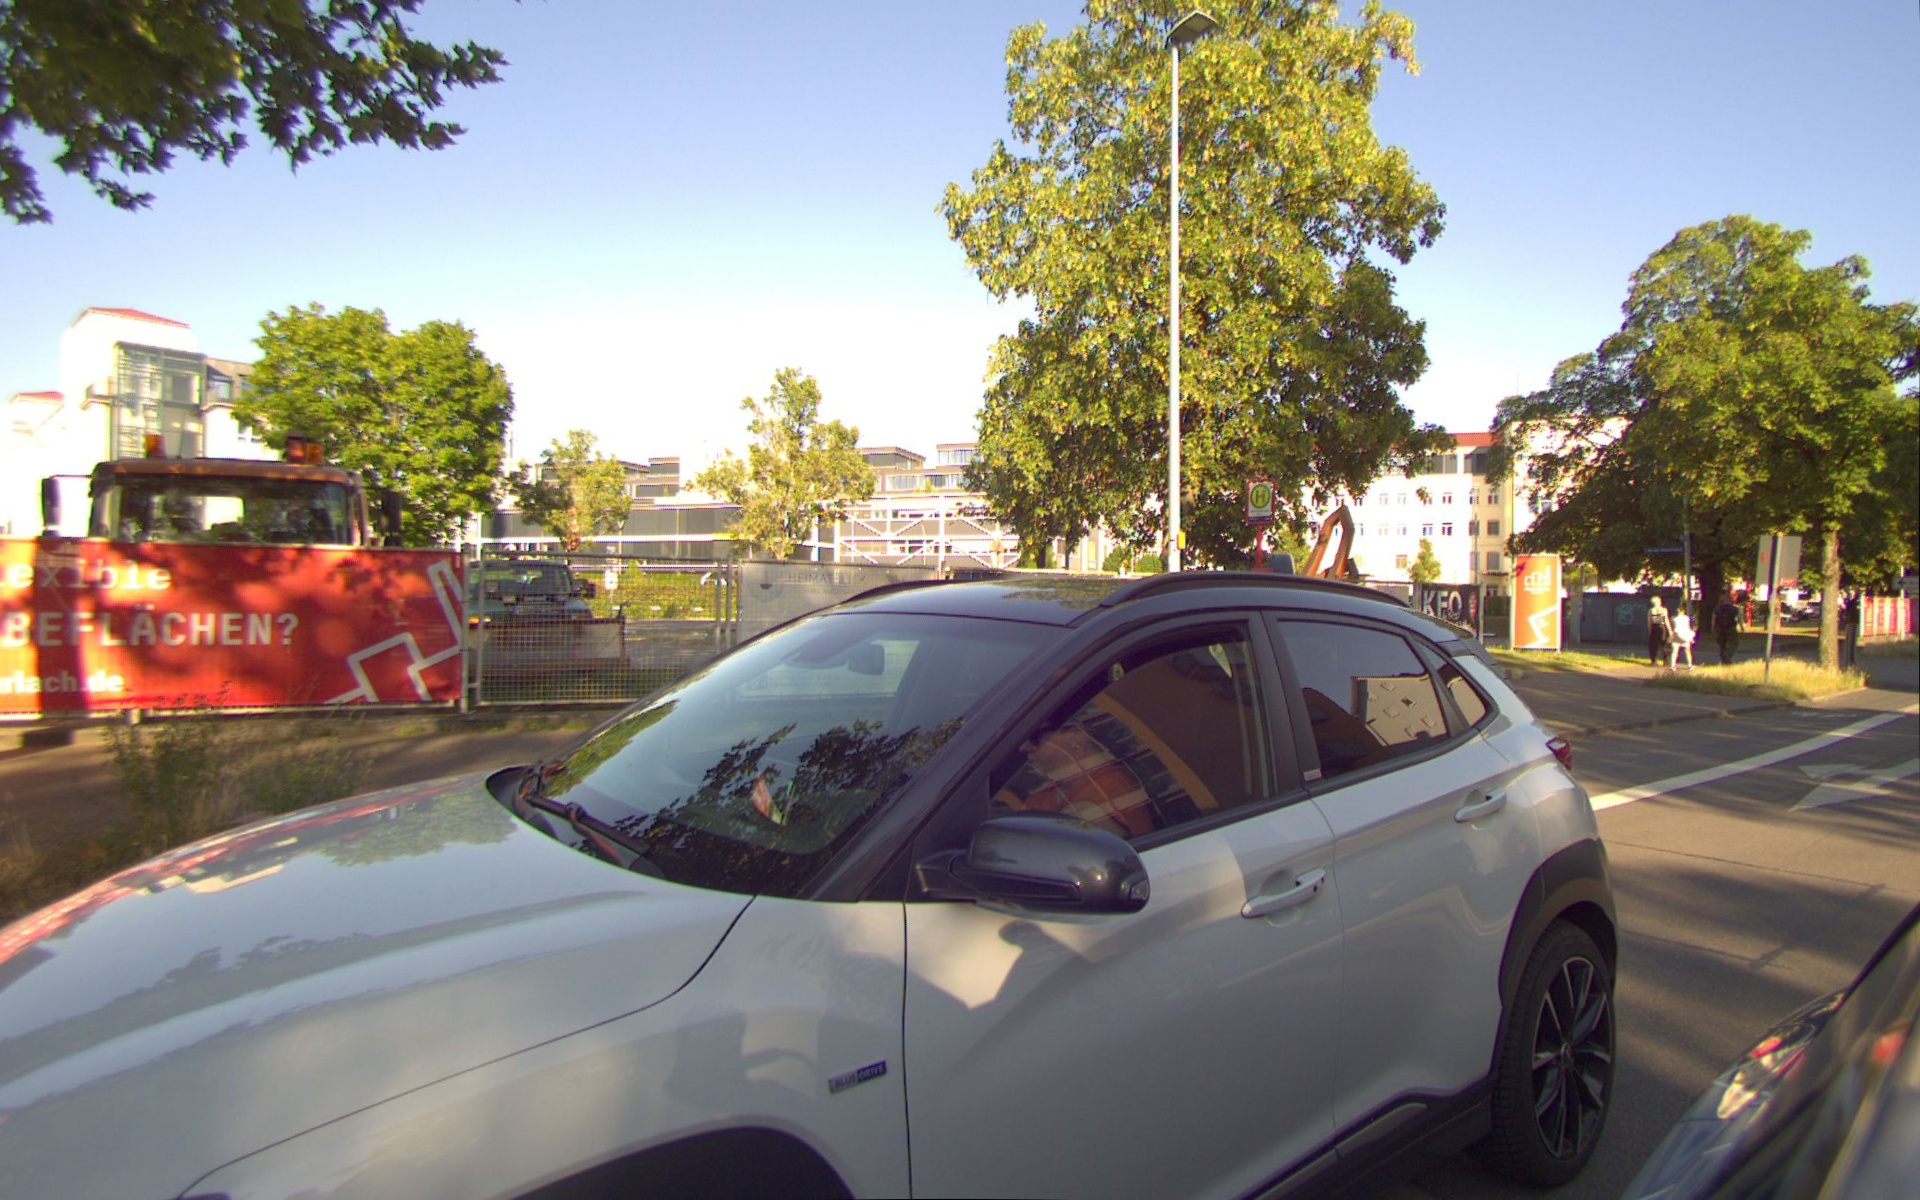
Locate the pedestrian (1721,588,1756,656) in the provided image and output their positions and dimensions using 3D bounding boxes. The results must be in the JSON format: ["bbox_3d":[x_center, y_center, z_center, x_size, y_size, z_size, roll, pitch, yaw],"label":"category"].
[{"bbox_3d":[19.847,0.541,25.804,0.692,1.689,0.630,0,0,38],"label":"pedestrian"}]

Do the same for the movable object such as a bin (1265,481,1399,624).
[{"bbox_3d":[15.519,-1.881,42.765,3.910,5.547,6.022,0,0,6],"label":"movable object such as a bin"}]

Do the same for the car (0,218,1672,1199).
[{"bbox_3d":[-0.020,0.593,2.463,3.893,1.618,1.894,3,-2,-39],"label":"car"}]

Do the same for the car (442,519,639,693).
[{"bbox_3d":[-5.670,0.043,13.296,2.001,1.851,4.612,0,0,-28],"label":"car"}]

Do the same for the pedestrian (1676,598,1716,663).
[{"bbox_3d":[16.850,0.689,23.183,0.627,1.452,0.609,0,0,-40],"label":"pedestrian"}]

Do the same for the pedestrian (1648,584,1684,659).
[{"bbox_3d":[16.824,0.503,24.111,0.607,1.759,0.629,0,0,44],"label":"pedestrian"}]

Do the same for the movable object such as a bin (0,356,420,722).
[{"bbox_3d":[-8.394,-0.549,12.057,3.154,3.087,6.295,0,0,-31],"label":"movable object such as a bin"}]
